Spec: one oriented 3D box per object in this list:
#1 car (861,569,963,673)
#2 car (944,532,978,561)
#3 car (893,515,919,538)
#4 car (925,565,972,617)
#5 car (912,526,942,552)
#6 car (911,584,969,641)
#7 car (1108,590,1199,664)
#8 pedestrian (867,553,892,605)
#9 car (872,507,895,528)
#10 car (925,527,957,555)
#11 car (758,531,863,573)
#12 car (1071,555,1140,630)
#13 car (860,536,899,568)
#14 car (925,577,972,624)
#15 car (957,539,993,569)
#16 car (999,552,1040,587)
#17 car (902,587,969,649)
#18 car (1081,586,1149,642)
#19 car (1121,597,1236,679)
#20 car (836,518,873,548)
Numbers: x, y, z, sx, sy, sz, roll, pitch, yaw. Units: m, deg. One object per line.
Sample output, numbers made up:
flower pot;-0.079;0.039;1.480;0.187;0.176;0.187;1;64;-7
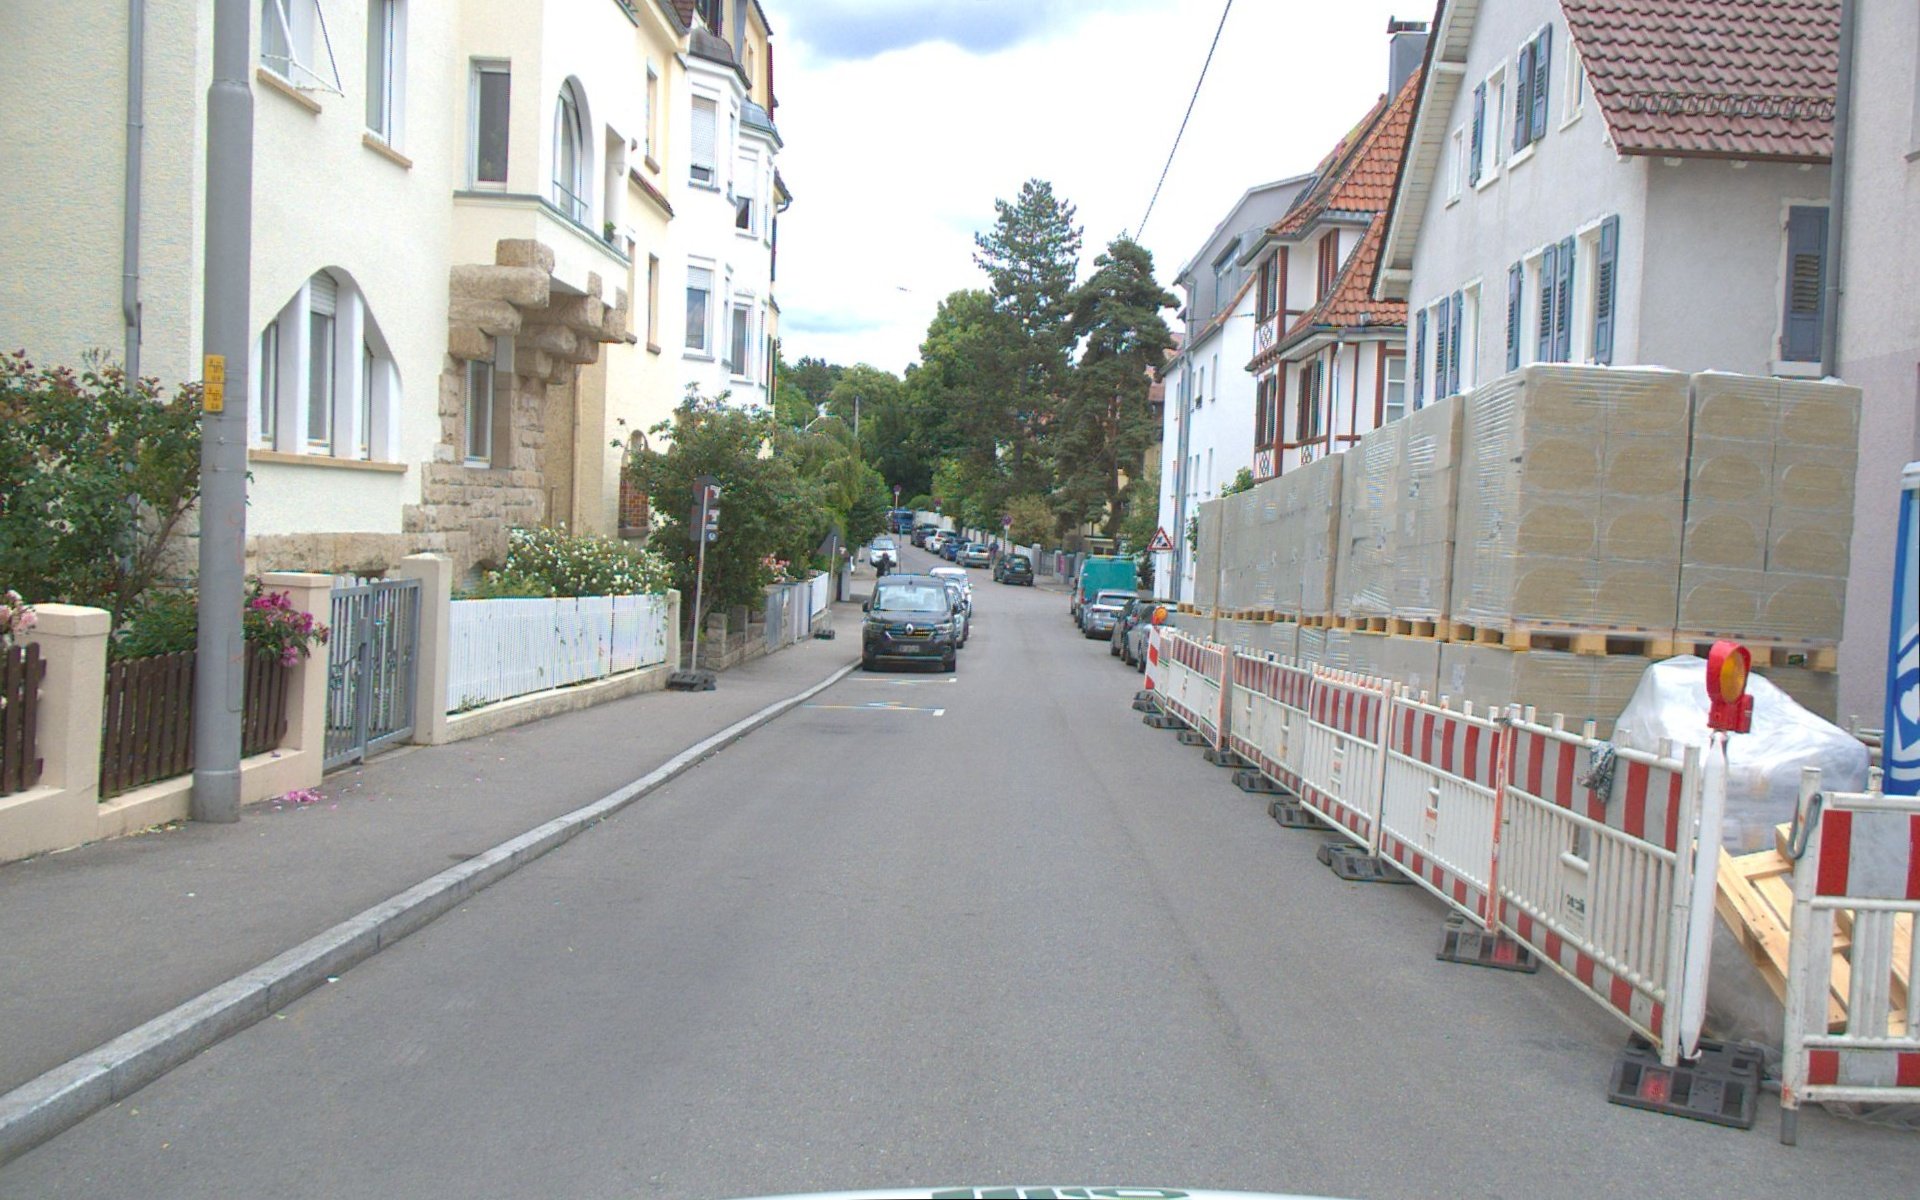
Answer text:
car;-0.942;0.380;32.335;1.808;1.847;4.543;1;0;-2
car;0.069;-3.361;103.953;1.604;1.509;3.526;3;4;-8
car;-4.283;-5.790;130.456;1.604;1.563;3.526;3;4;-8
car;-0.410;-0.366;61.175;1.638;1.685;3.865;1;4;0
car;-2.330;-4.292;115.855;1.604;1.563;3.526;3;4;-8
car;-0.535;0.322;47.356;1.563;1.504;3.991;1;1;0
car;4.564;0.602;39.430;1.655;1.546;3.881;3;1;0
pedestrian;-3.141;-0.828;64.987;0.775;1.966;0.920;3;1;3
car;-6.492;-6.999;140.562;1.604;1.563;3.526;3;4;-8
car;-1.280;-3.930;109.995;1.604;1.563;3.526;3;4;-8
car;-6.984;-2.239;77.645;1.966;1.668;4.782;5;2;43
car;4.986;-0.318;57.274;1.940;2.403;4.278;2;2;0
car;-4.734;-2.837;96.814;1.643;1.685;3.854;1;4;-12
car;-0.379;-0.005;56.921;1.563;1.437;3.663;1;2;0
car;0.904;-2.769;99.528;1.604;1.509;3.526;3;4;-8
car;3.126;-1.612;87.541;1.603;1.509;3.527;4;4;-7
car;-0.589;0.434;42.344;1.608;1.441;3.984;1;1;0
car;4.705;0.397;50.688;1.690;1.473;3.881;3;2;0
car;4.562;0.753;35.073;1.782;1.467;4.451;3;1;0
car;-7.401;-4.710;115.479;1.871;1.908;4.582;1;4;-13
